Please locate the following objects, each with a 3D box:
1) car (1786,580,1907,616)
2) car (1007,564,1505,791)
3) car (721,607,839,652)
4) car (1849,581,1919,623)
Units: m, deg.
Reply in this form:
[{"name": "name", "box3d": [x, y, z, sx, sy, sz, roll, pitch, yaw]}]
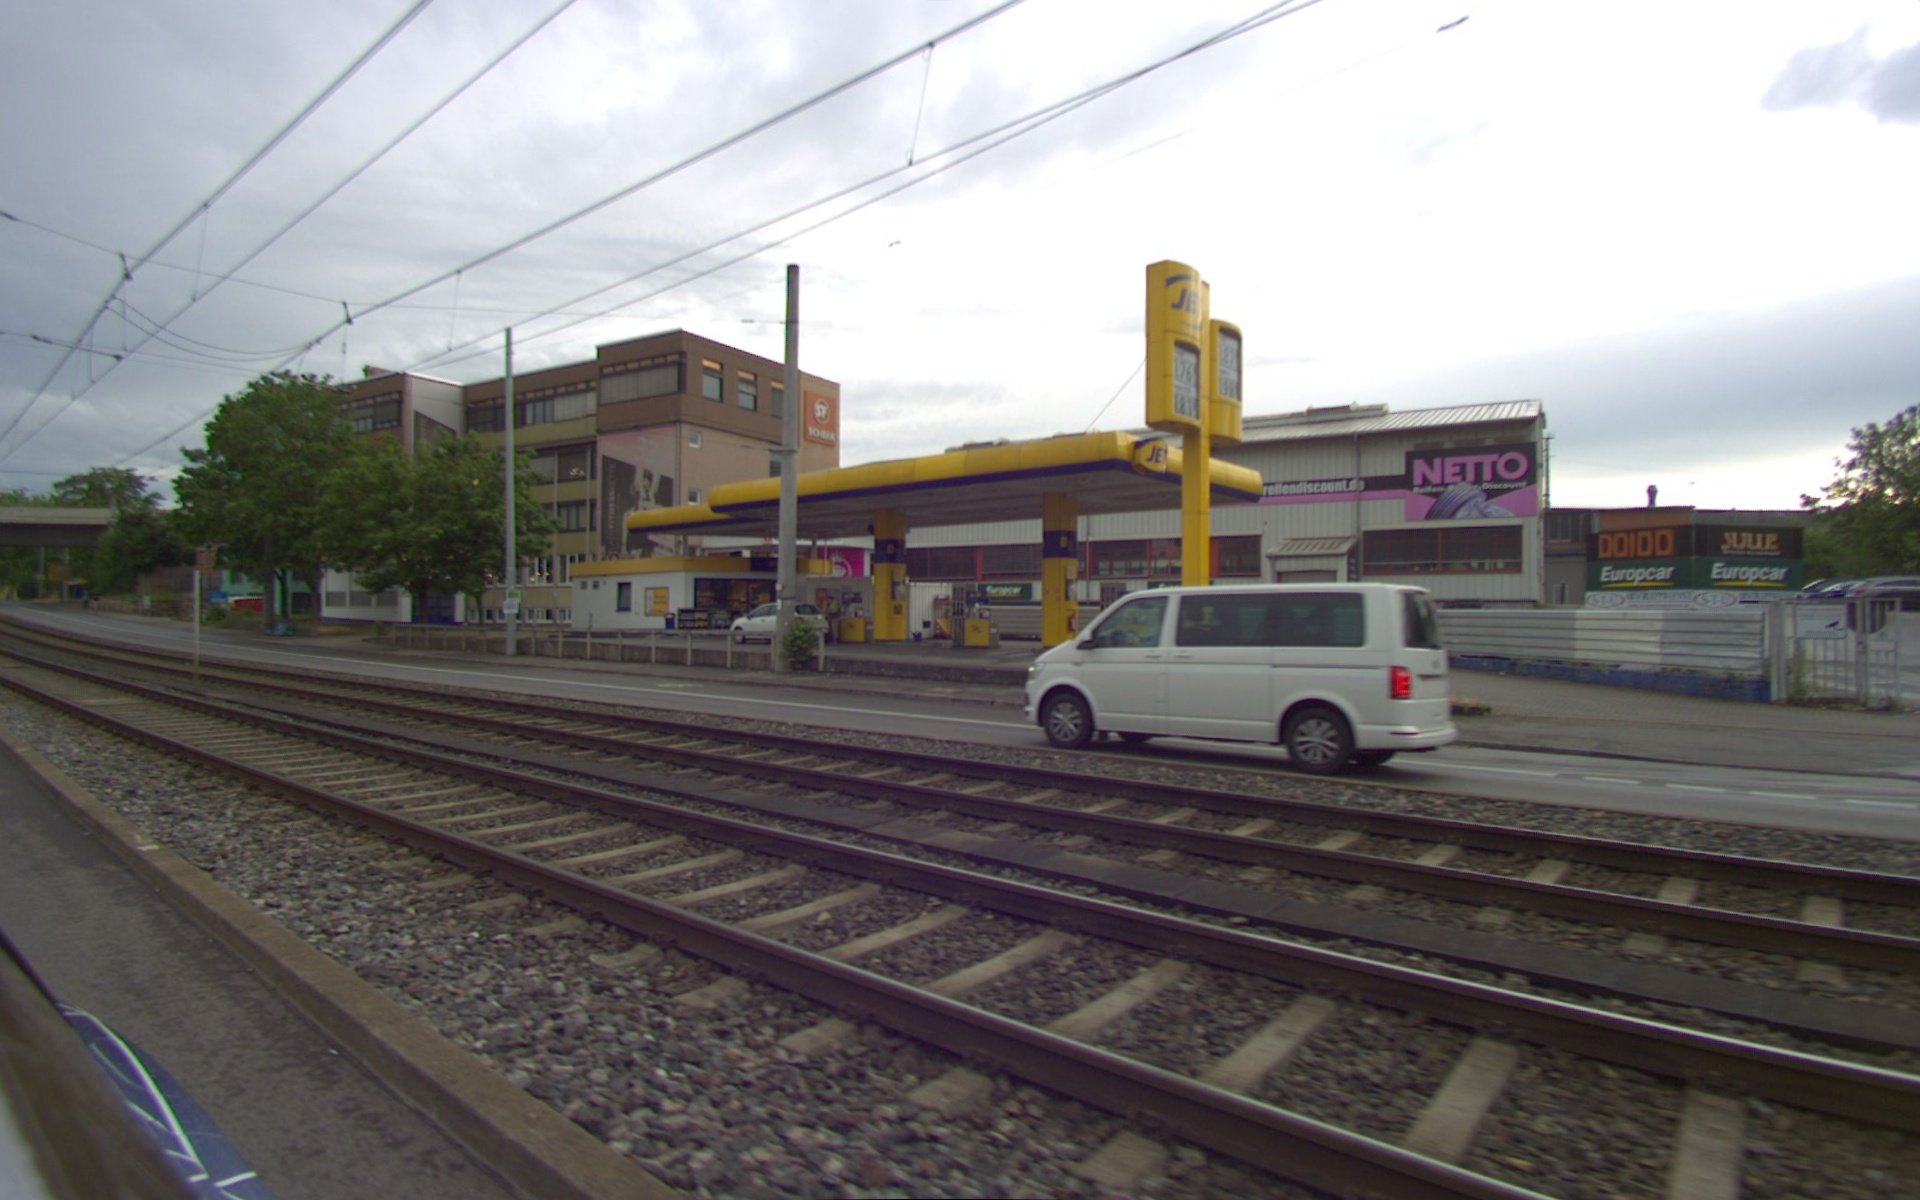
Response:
[{"name": "car", "box3d": [41.360, -0.113, 47.347, 3.987, 1.624, 1.851, 0, 1, 32]}, {"name": "car", "box3d": [3.151, 0.792, 11.460, 5.054, 2.029, 1.974, -1, -4, 39]}, {"name": "car", "box3d": [-6.239, 0.976, 34.885, 4.070, 1.426, 1.753, 0, 1, 38]}, {"name": "car", "box3d": [37.934, 0.057, 39.956, 3.988, 1.630, 1.673, 0, 1, 33]}]
